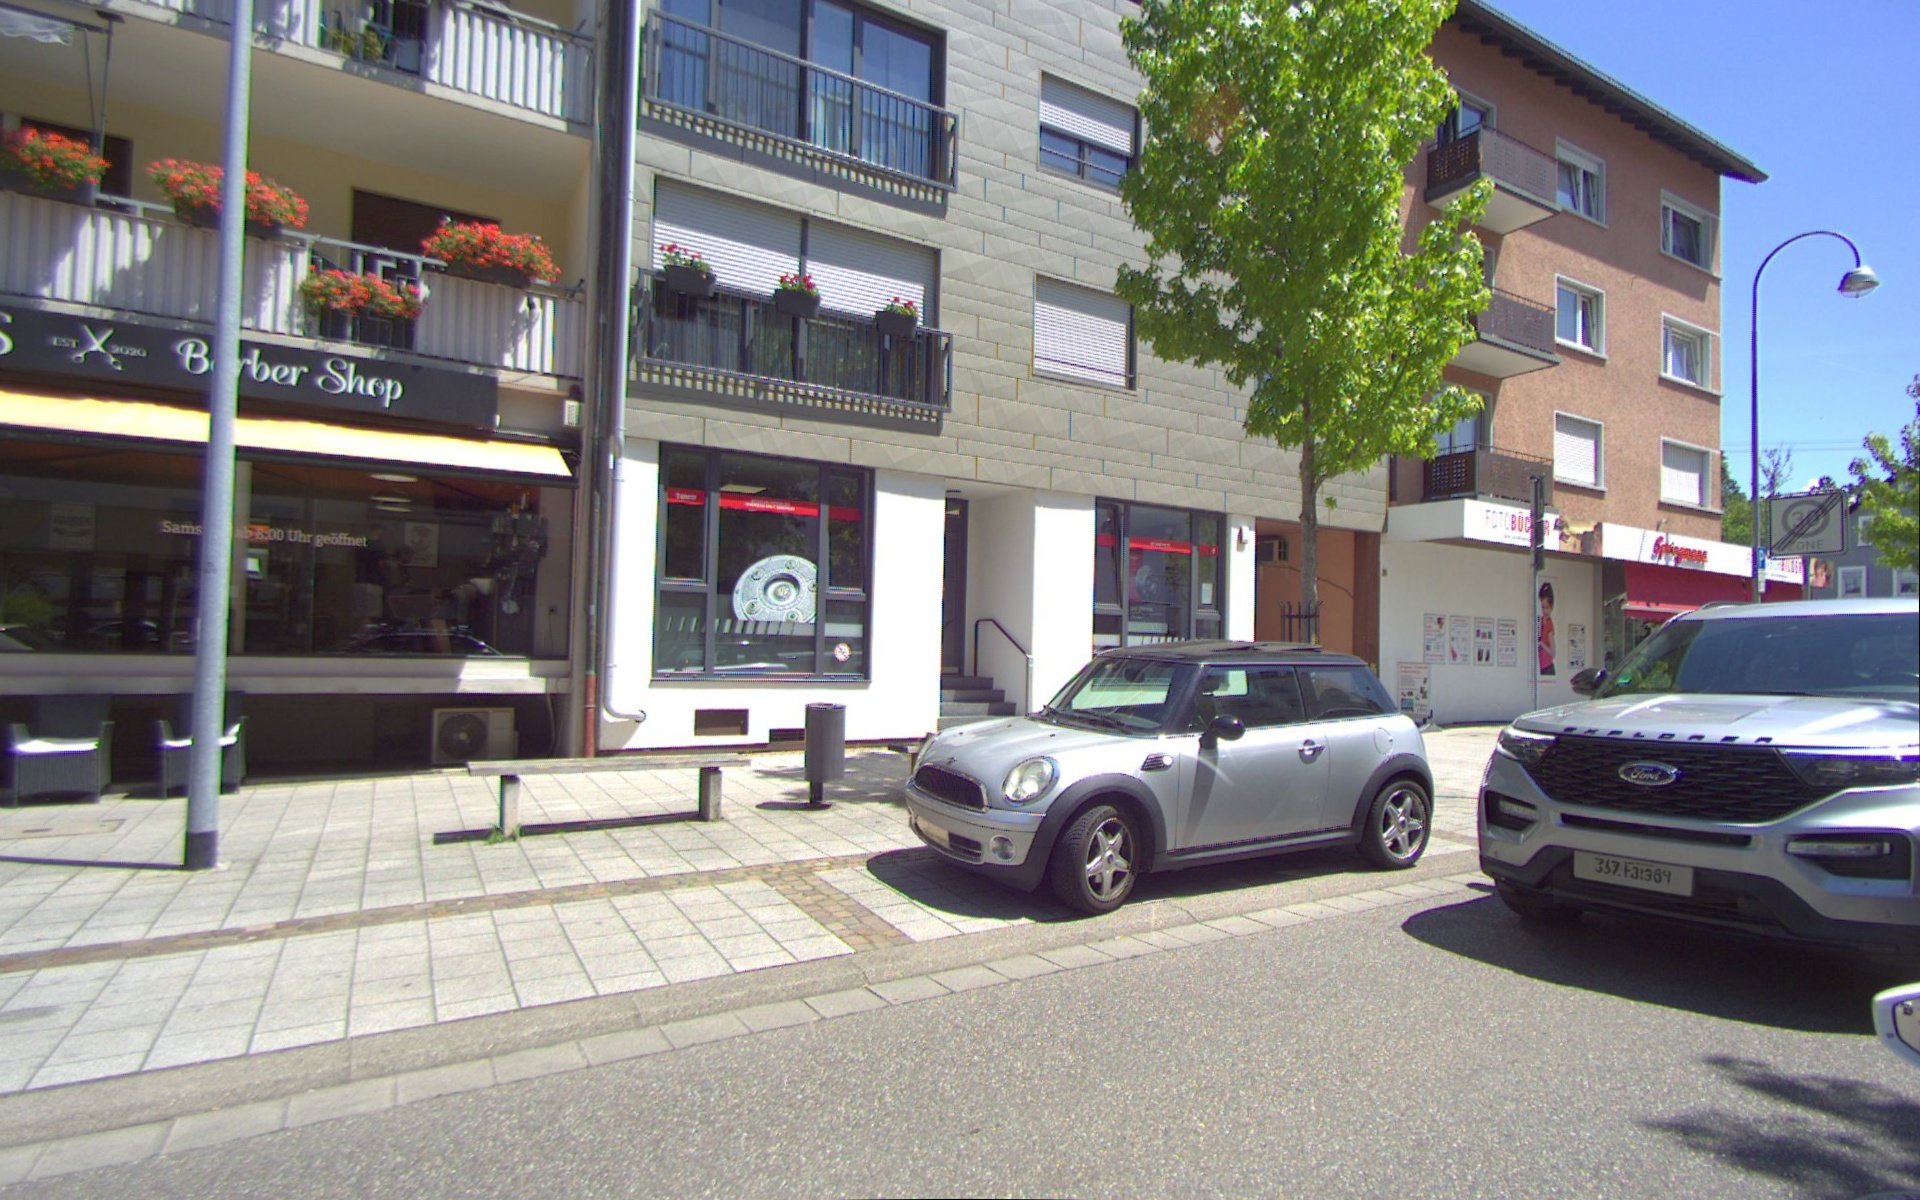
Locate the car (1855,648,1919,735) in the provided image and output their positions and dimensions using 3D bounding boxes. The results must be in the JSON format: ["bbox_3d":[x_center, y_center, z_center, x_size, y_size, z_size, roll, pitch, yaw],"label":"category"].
[{"bbox_3d":[18.856,1.731,19.194,4.019,1.506,1.656,2,0,-34],"label":"car"}]

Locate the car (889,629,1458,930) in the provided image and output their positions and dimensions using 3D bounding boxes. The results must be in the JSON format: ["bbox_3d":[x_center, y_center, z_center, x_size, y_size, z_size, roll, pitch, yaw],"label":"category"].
[{"bbox_3d":[1.464,0.979,6.611,3.507,1.493,1.614,2,-3,-30],"label":"car"}]

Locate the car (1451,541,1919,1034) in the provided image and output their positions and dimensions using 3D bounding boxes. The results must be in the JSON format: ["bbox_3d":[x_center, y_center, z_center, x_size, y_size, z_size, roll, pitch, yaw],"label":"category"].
[{"bbox_3d":[4.978,0.784,5.641,4.707,1.777,1.890,2,-3,-33],"label":"car"}]
